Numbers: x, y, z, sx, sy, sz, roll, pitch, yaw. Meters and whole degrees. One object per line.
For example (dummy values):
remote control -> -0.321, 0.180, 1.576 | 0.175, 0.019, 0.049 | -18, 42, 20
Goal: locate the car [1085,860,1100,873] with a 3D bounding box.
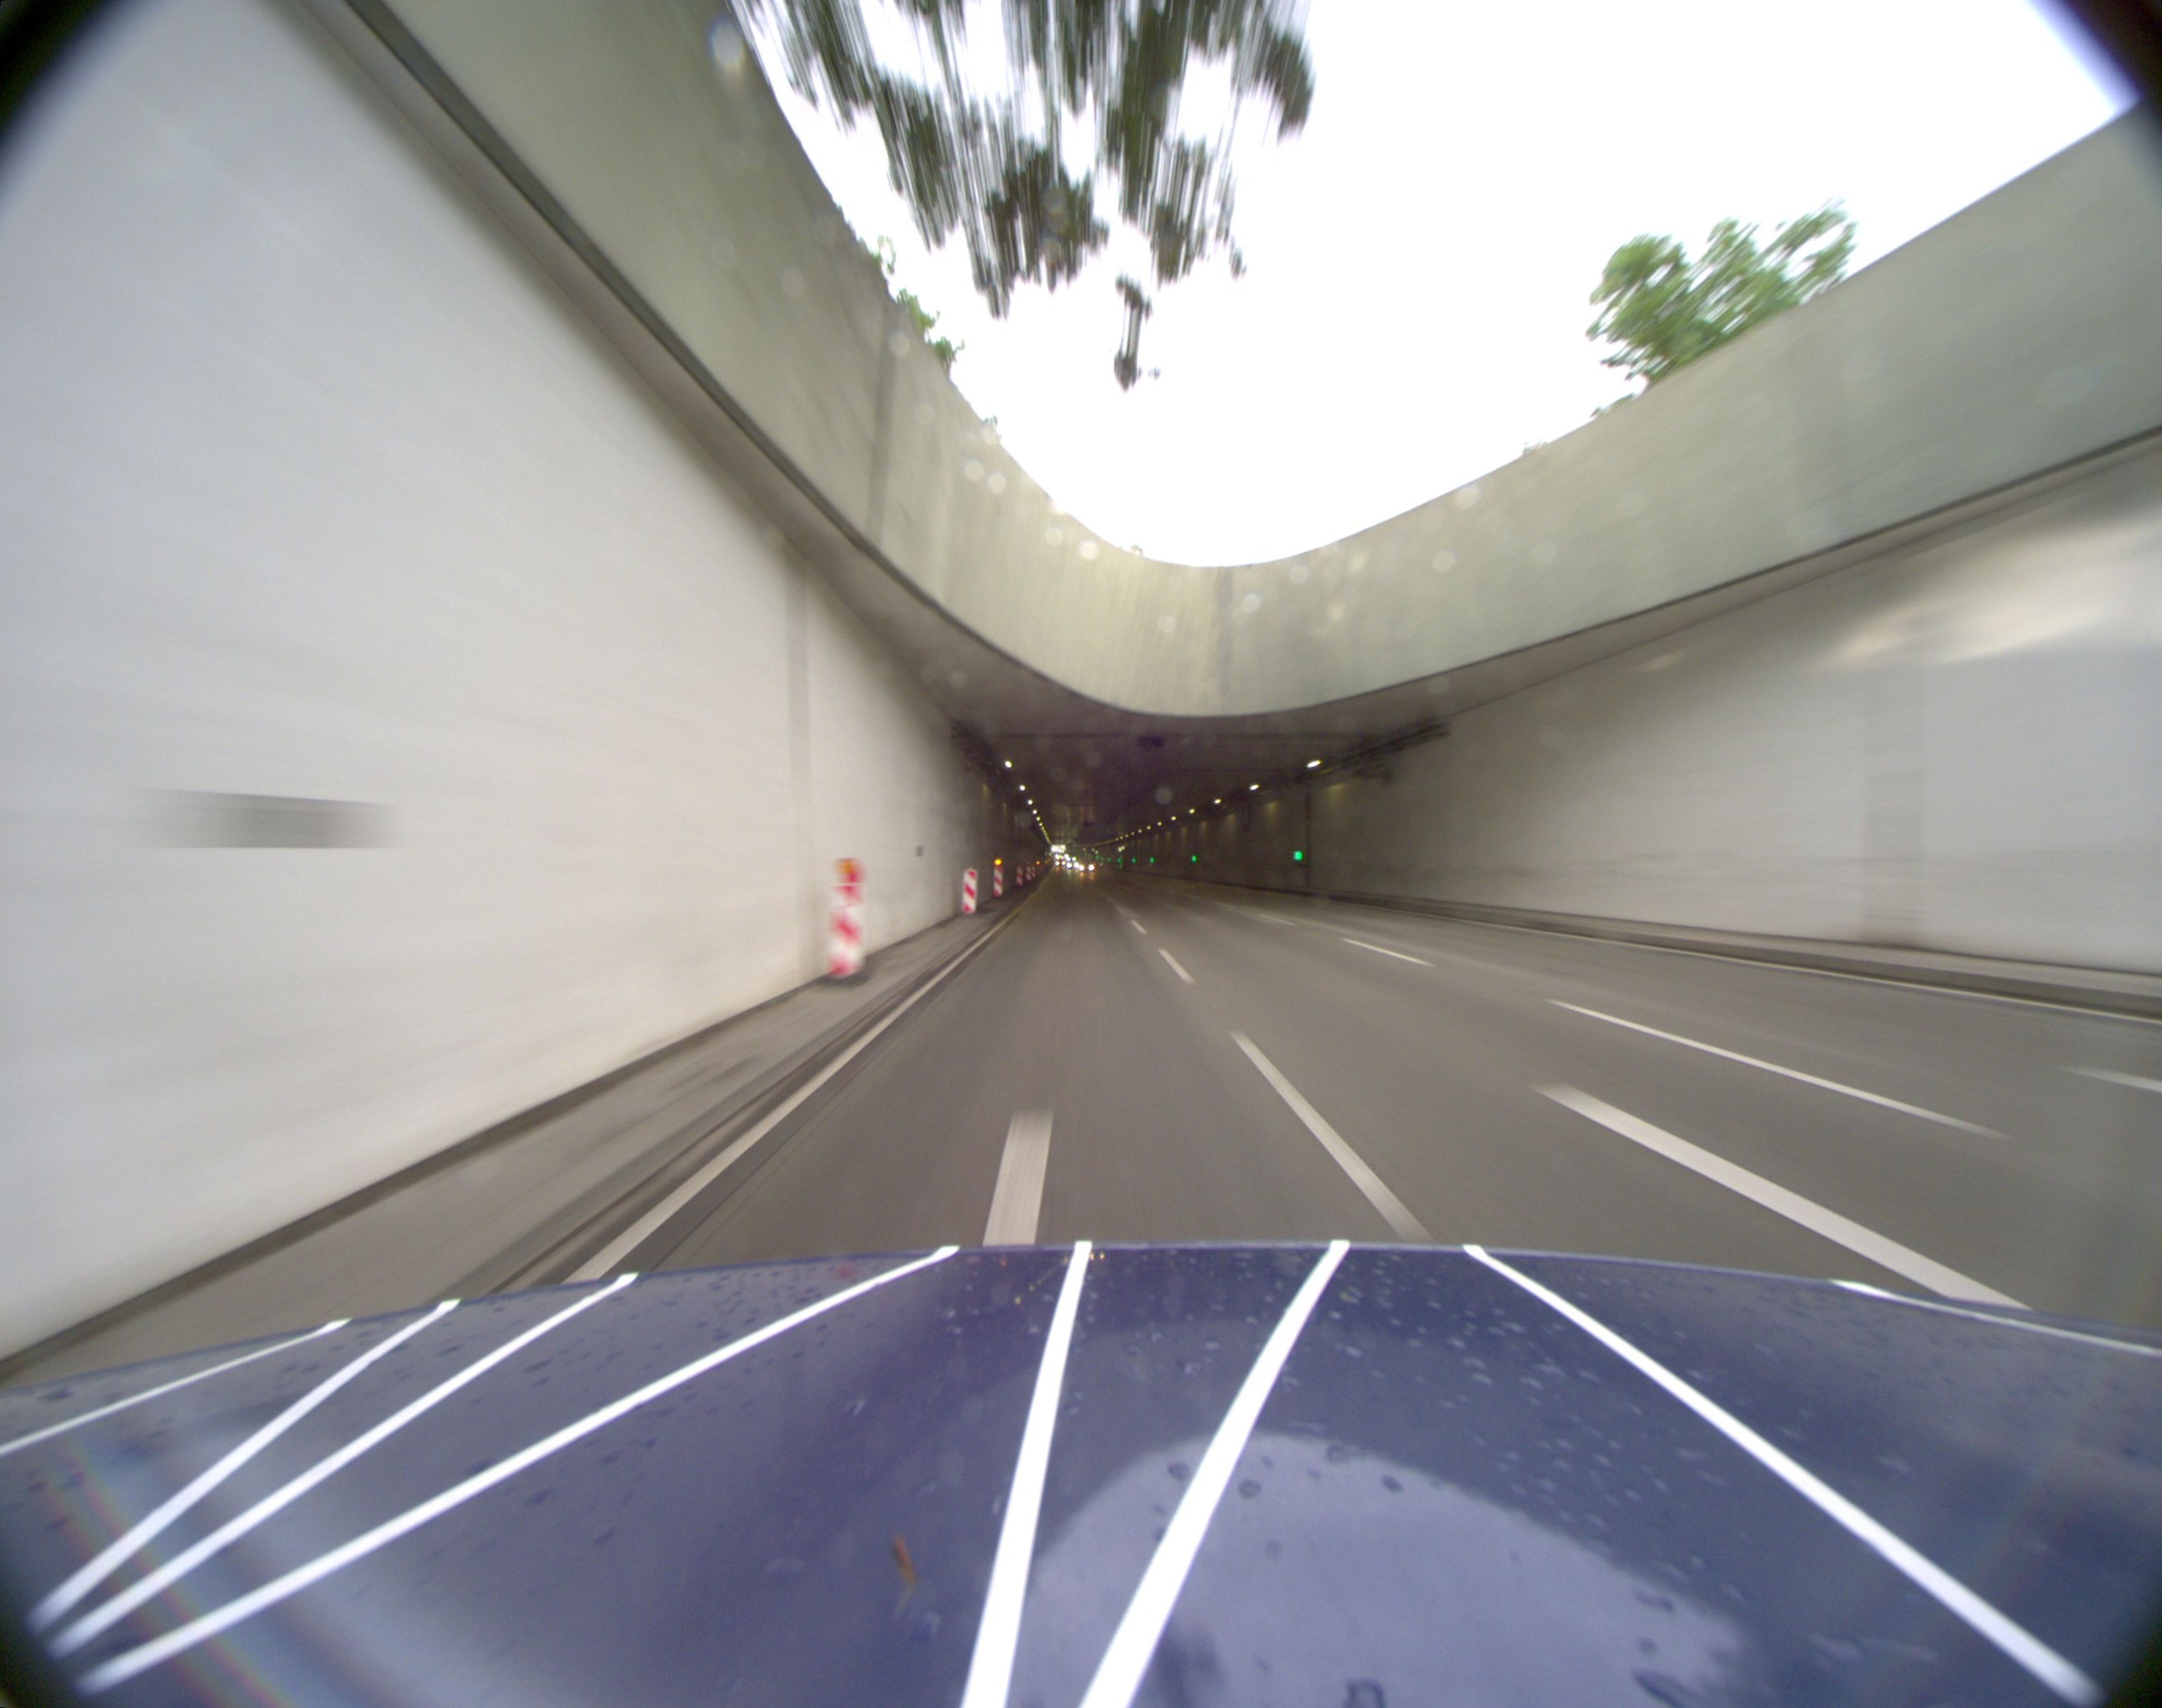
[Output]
car -> 1.558, 1.721, 105.977 | 1.999, 1.686, 3.999 | -1, 0, -1

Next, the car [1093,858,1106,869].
car -> 3.073, 1.571, 129.090 | 1.999, 1.685, 4.000 | 2, 0, -1

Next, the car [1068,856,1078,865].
car -> -1.556, 1.324, 148.109 | 1.999, 1.686, 3.999 | -1, 0, -1

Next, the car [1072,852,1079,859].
car -> -1.658, 0.448, 222.353 | 1.999, 1.756, 3.999 | -1, 1, -1
